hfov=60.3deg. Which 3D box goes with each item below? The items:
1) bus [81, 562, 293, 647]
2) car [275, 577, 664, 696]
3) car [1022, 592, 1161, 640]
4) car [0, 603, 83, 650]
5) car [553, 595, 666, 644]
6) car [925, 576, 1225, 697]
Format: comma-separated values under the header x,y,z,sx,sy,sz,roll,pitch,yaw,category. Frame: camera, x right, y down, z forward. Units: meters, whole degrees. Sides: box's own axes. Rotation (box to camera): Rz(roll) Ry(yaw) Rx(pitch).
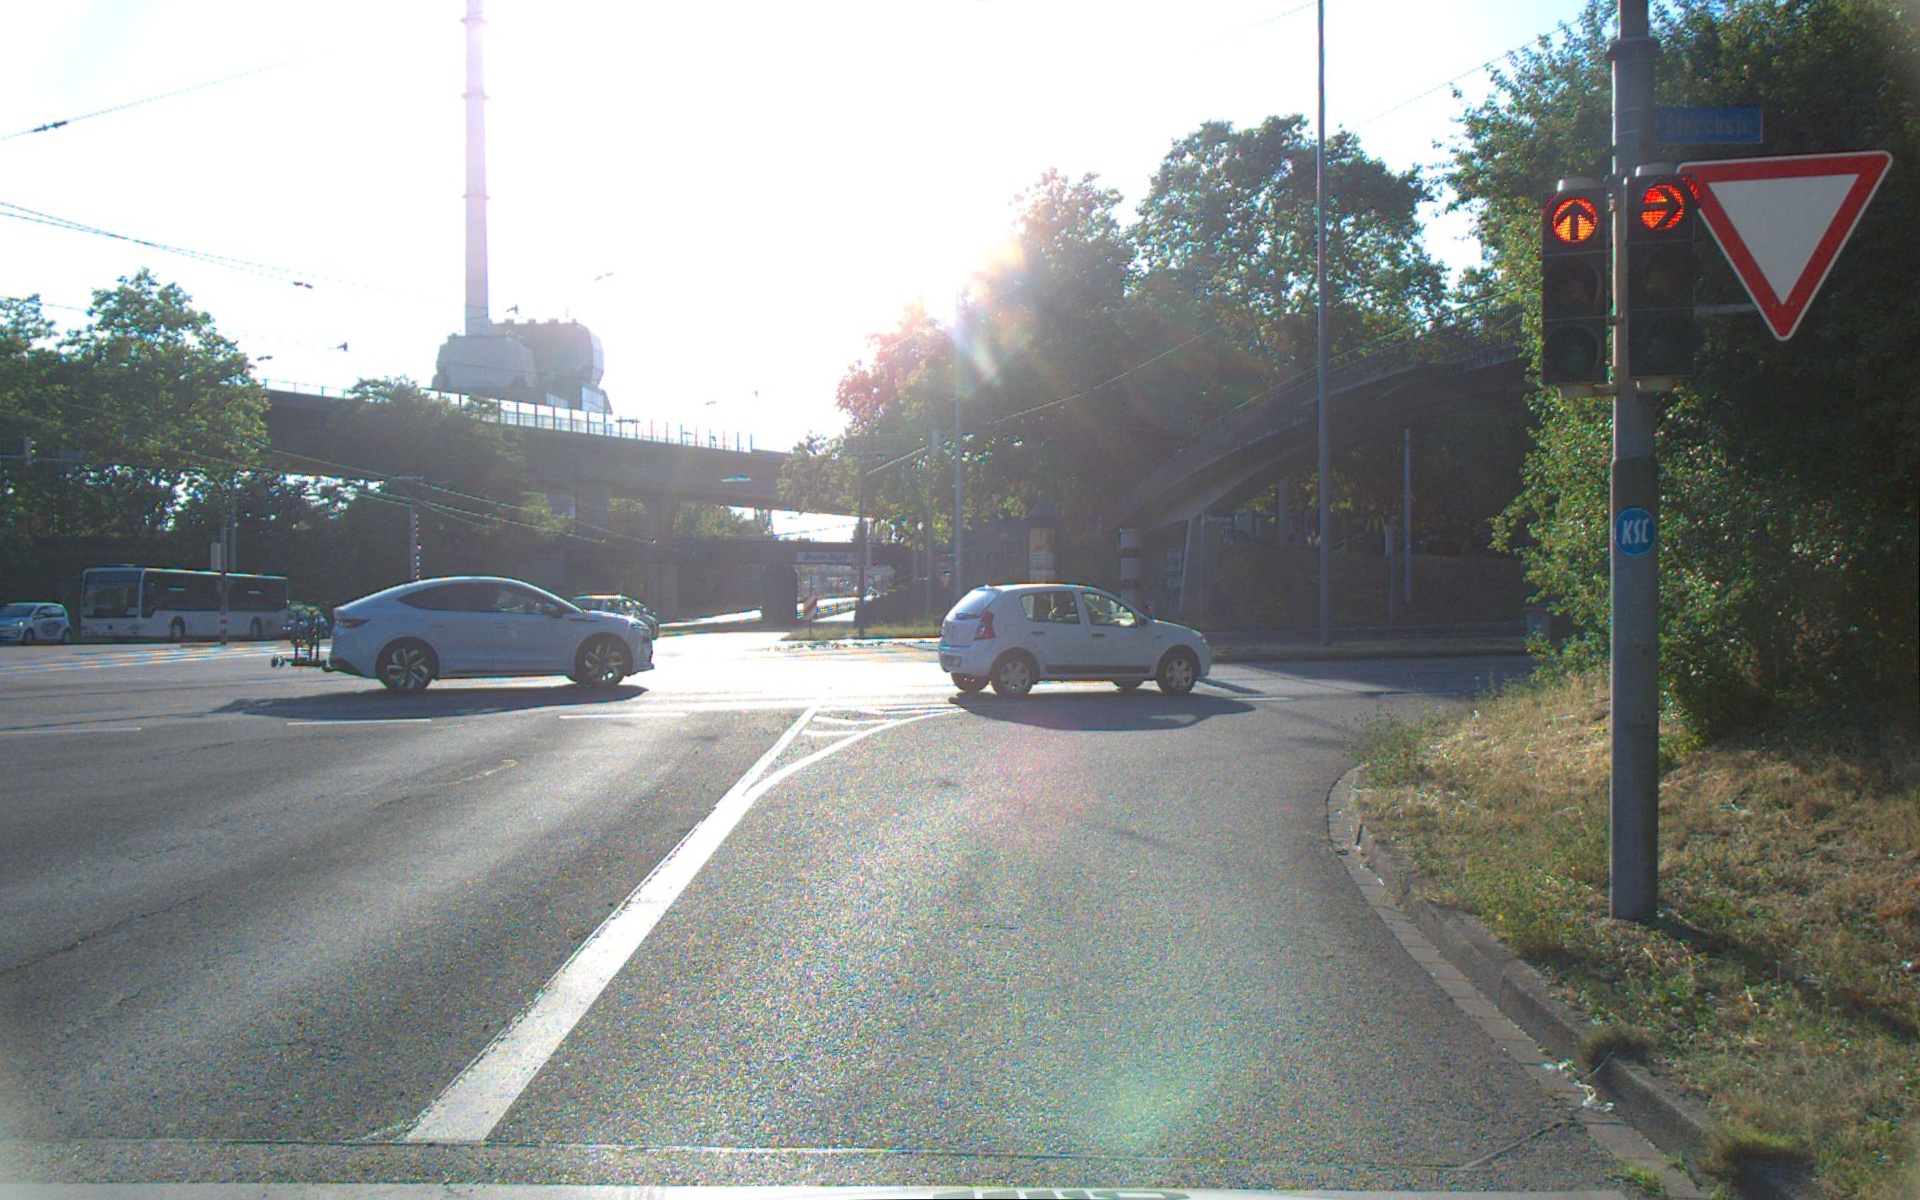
x,y,z,sx,sy,sz,roll,pitch,yaw,category
-32.020,0.306,69.376,2.491,3.185,12.919,-1,-1,2,bus
-7.093,0.496,24.087,5.274,1.602,1.729,0,0,-22,car
4.537,0.550,57.172,4.505,1.602,1.685,1,0,-18,car
-32.167,0.898,57.268,1.574,1.538,4.006,1,0,-3,car
-10.882,0.581,51.646,1.630,1.429,4.199,1,0,16,car
1.633,0.487,23.463,3.932,1.602,1.682,0,0,-23,car
